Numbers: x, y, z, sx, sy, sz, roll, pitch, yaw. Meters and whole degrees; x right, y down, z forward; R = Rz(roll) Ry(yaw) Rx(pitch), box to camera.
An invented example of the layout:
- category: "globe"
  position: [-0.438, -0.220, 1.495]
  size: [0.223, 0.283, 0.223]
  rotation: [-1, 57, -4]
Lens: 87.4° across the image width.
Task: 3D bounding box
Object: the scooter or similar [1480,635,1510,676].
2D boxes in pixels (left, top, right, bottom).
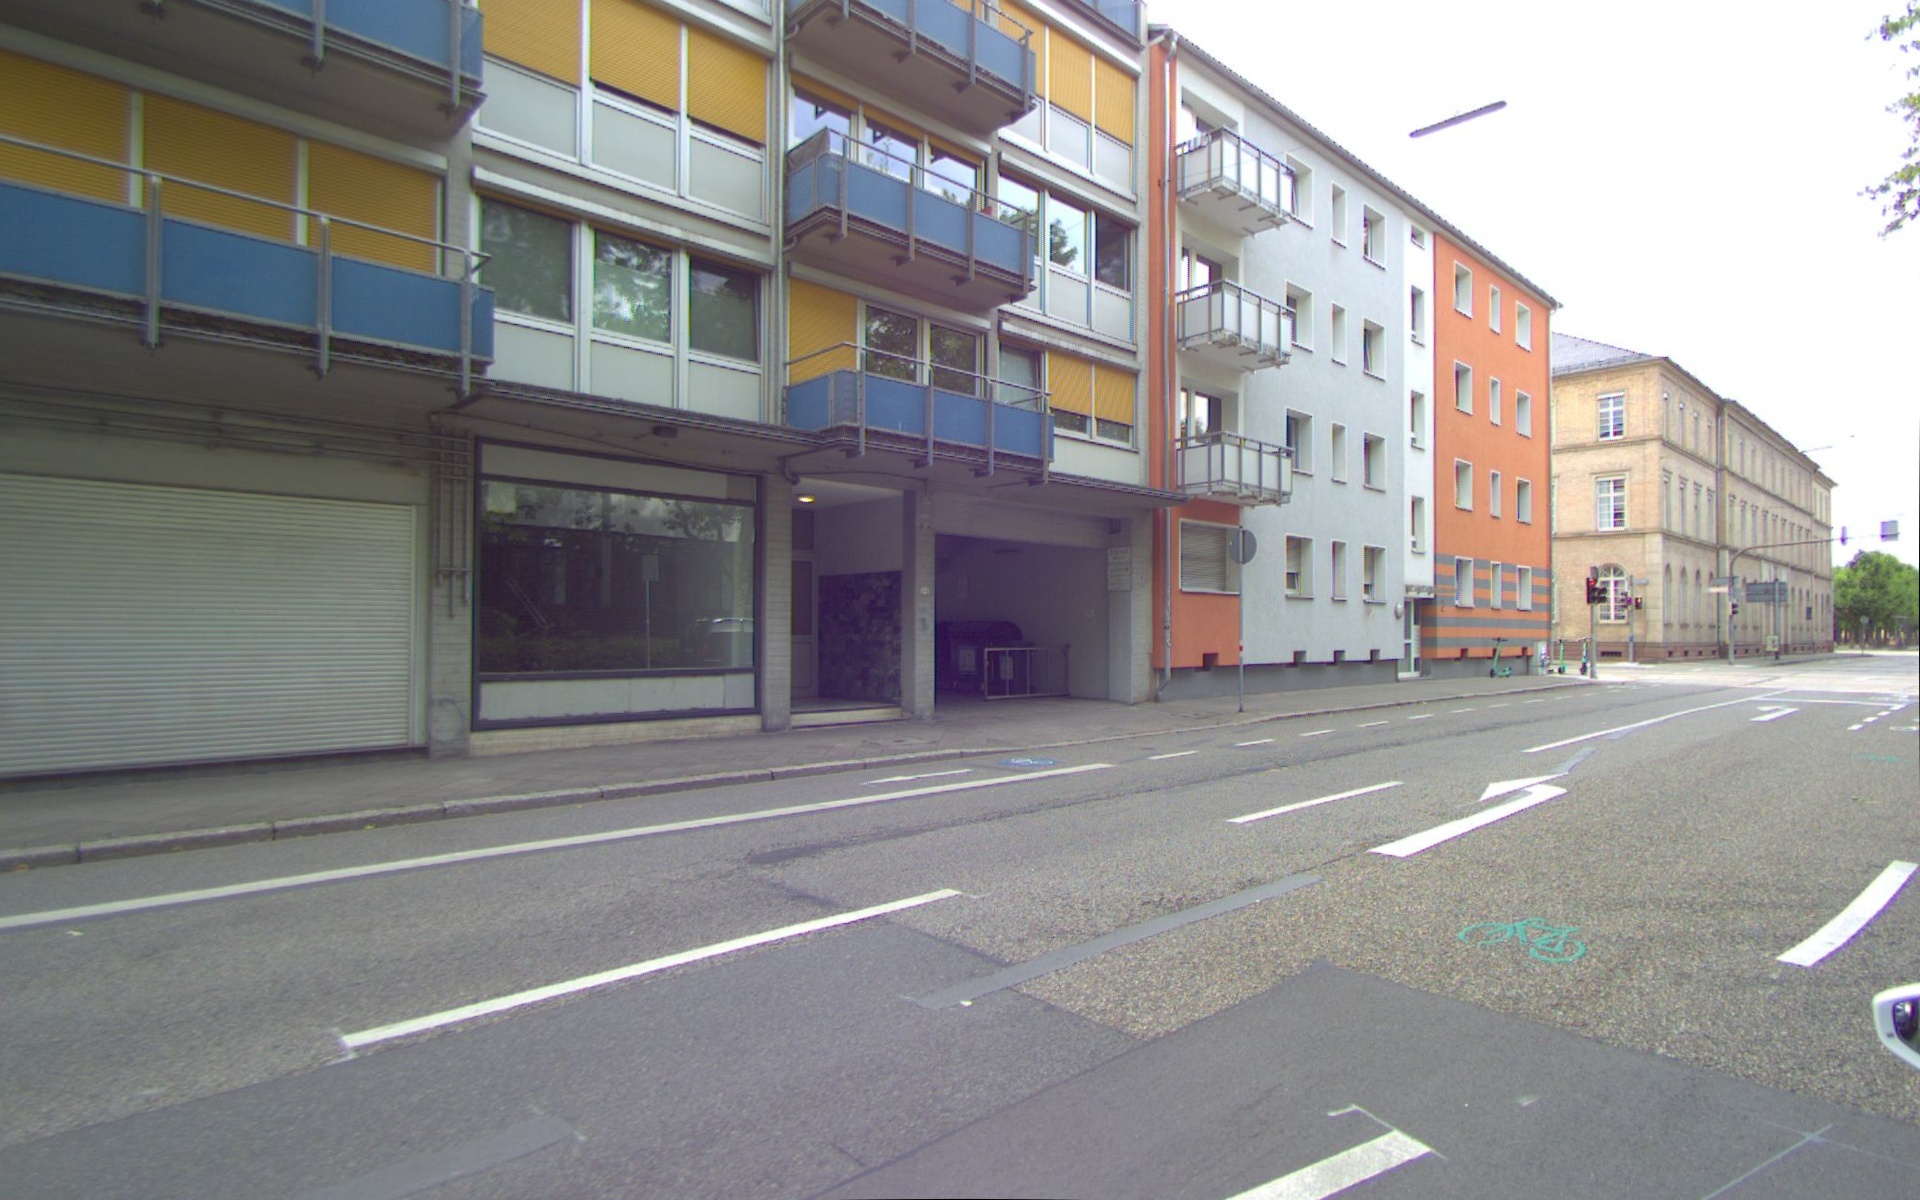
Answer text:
- category: "scooter or similar"
  position: [16.032, 1.651, 30.070]
  size: [1.380, 1.199, 0.374]
  rotation: [4, -3, -43]

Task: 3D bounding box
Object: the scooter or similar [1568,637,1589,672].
- category: "scooter or similar"
  position: [21.171, 1.876, 34.384]
  size: [0.374, 1.159, 1.135]
  rotation: [-1, -3, 44]

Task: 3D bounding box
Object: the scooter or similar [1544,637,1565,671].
- category: "scooter or similar"
  position: [20.389, 1.857, 34.452]
  size: [0.374, 1.162, 1.135]
  rotation: [-1, -3, 44]

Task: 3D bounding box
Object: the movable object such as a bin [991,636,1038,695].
- category: "movable object such as a bin"
  position: [1.079, 1.291, 19.973]
  size: [0.704, 1.140, 0.636]
  rotation: [1, -2, -42]

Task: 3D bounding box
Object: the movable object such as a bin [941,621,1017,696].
- category: "movable object such as a bin"
  position: [0.385, 1.182, 20.665]
  size: [1.045, 1.483, 1.179]
  rotation: [1, -2, -42]

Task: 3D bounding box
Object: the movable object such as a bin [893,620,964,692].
- category: "movable object such as a bin"
  position: [-0.682, 1.186, 21.728]
  size: [1.045, 1.483, 1.179]
  rotation: [1, -2, -42]
